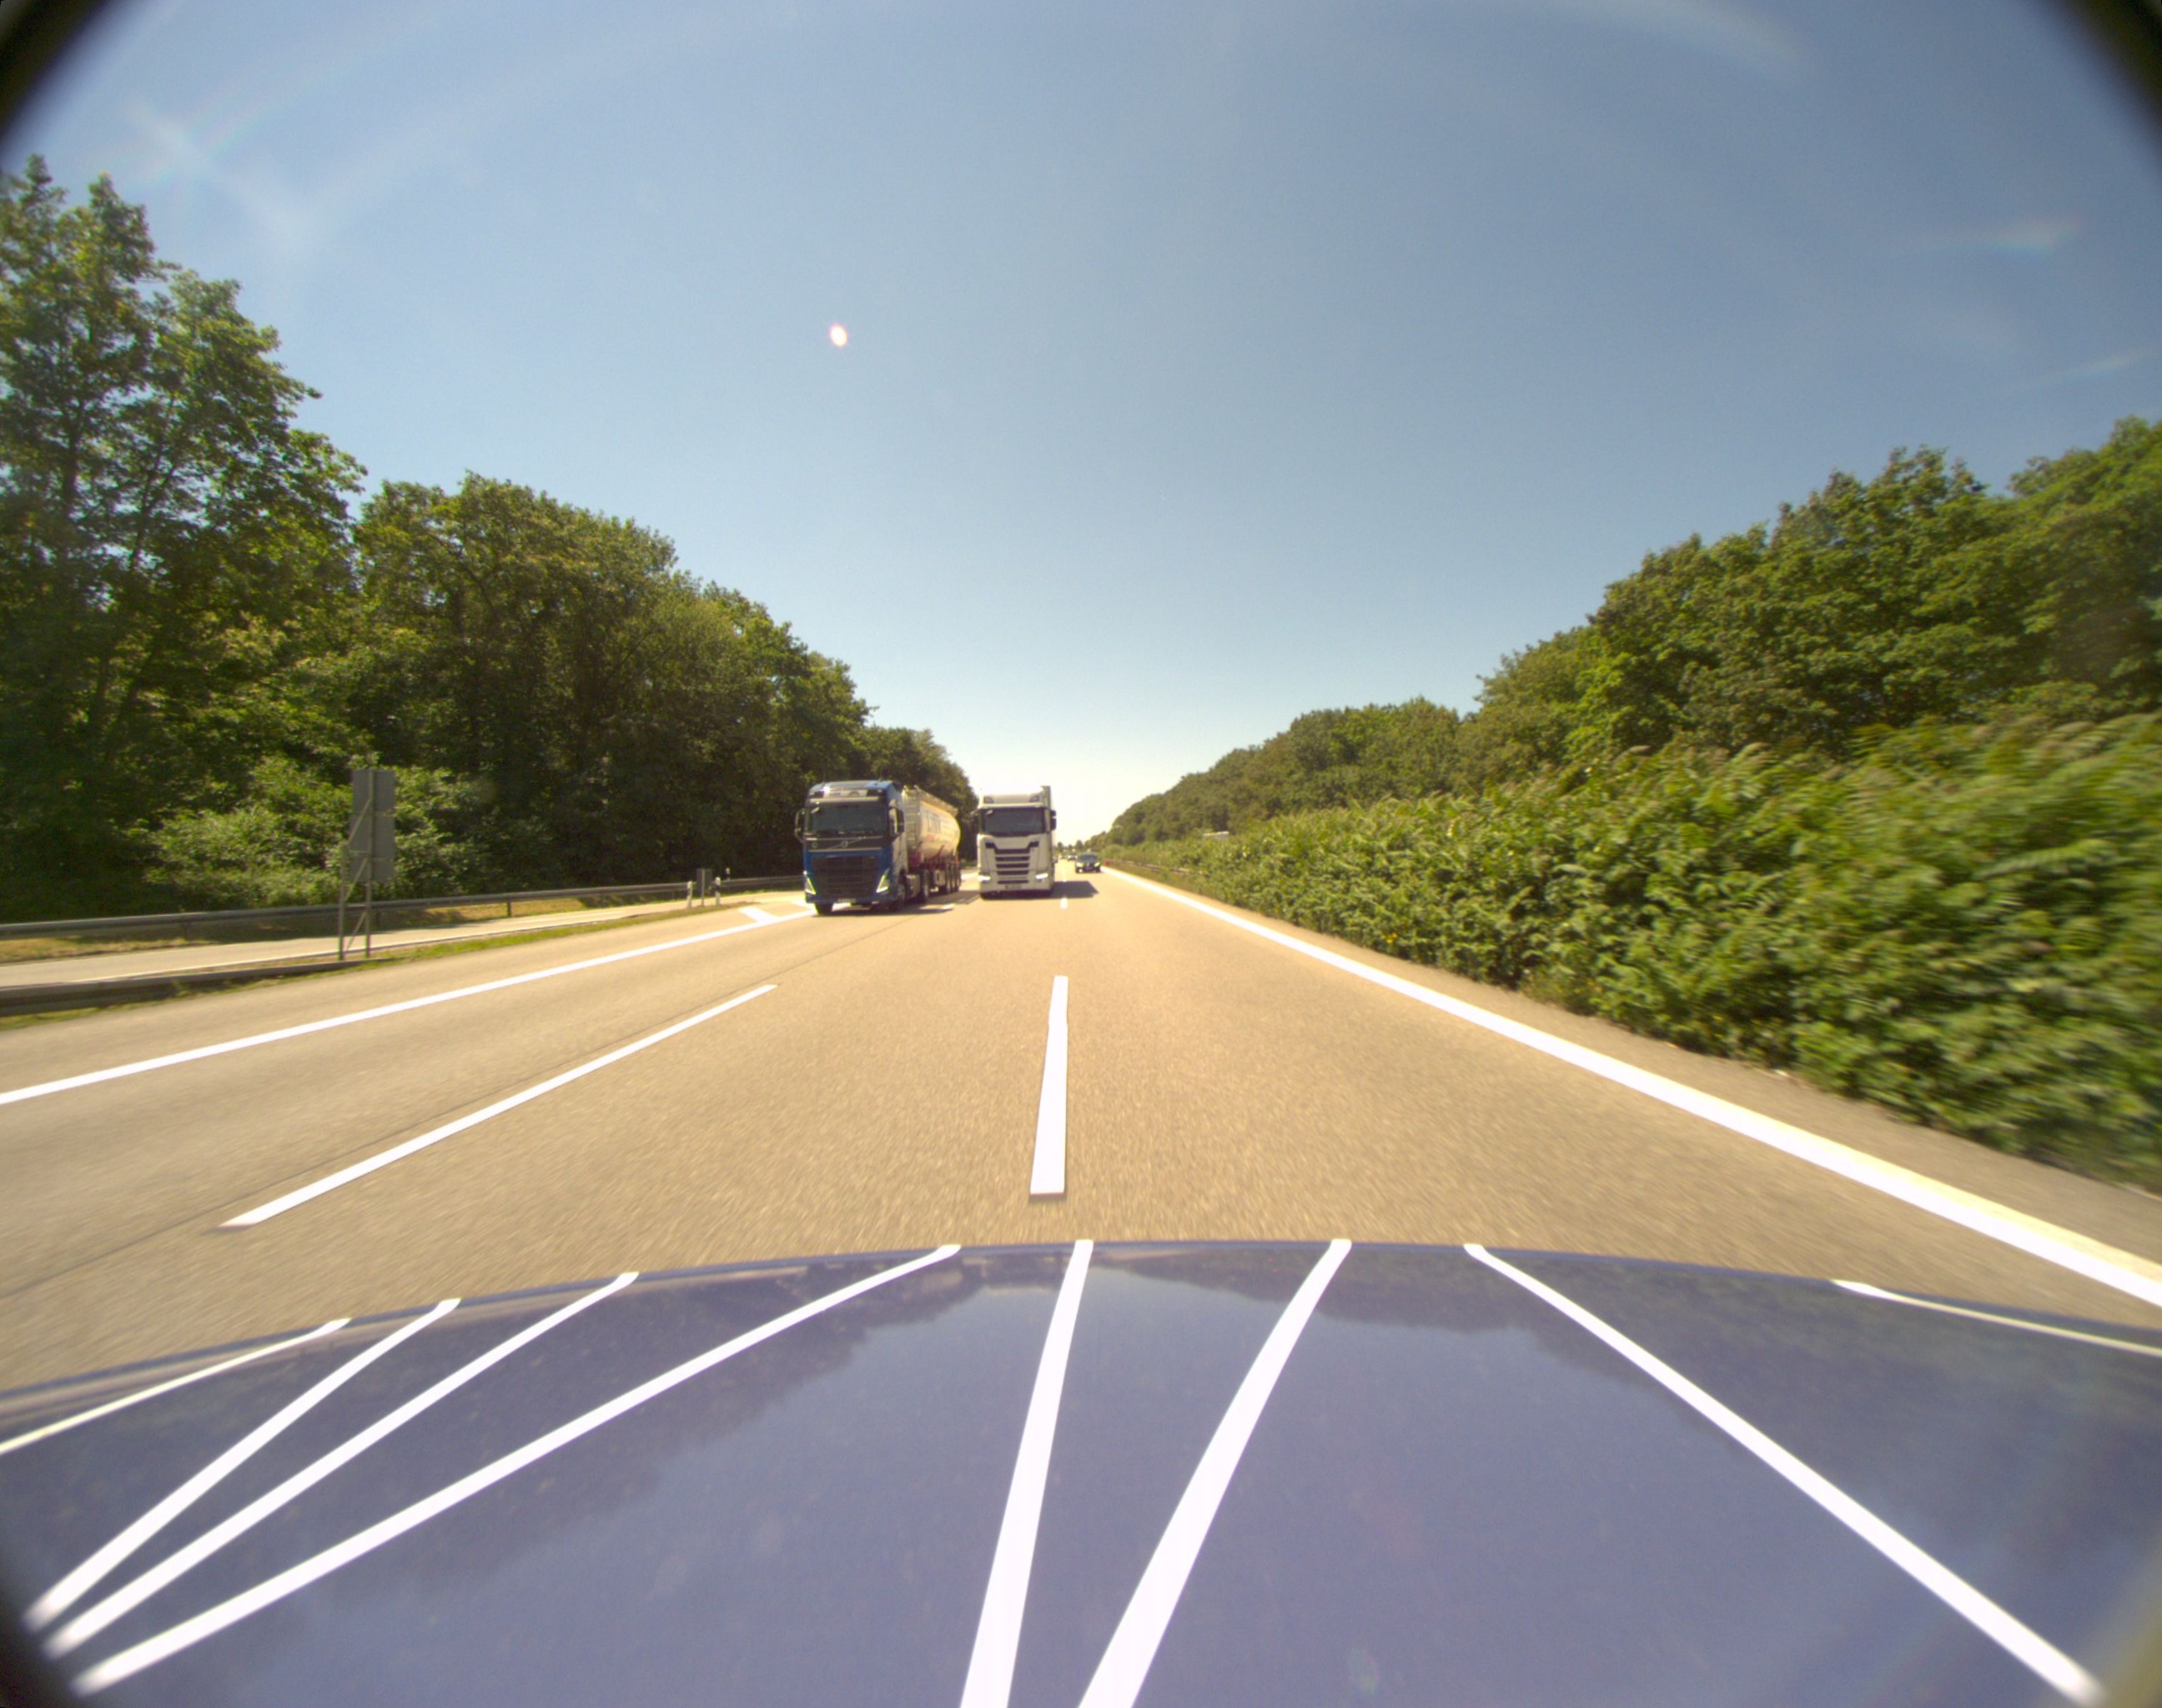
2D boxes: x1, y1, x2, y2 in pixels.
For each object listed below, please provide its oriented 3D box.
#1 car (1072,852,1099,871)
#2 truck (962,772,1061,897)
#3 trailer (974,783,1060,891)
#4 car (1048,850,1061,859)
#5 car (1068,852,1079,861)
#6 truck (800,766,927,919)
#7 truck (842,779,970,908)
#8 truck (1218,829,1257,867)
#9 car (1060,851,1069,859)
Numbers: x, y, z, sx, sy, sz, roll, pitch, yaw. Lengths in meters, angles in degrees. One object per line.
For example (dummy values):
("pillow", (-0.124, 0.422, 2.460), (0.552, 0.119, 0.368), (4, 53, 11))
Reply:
("car", (0.291, 0.568, 57.969), (1.887, 1.341, 4.466), (-1, 0, -2))
("truck", (-2.412, -0.662, 27.714), (3.238, 4.133, 4.558), (-1, 0, -2))
("trailer", (-2.709, -0.663, 35.623), (3.232, 4.119, 12.348), (-1, 0, -2))
("car", (-4.269, 0.116, 123.109), (1.842, 1.409, 4.495), (-1, 0, -6))
("car", (-1.437, 0.493, 136.666), (1.887, 1.634, 3.999), (-1, 0, -1))
("truck", (-6.201, -0.317, 22.257), (2.455, 4.014, 4.070), (-2, 1, -1))
("truck", (-6.281, -0.369, 29.192), (2.449, 4.020, 10.539), (-2, 1, -1))
("truck", (16.975, -0.691, 82.608), (2.824, 3.948, 5.871), (-1, 1, -2))
("car", (-4.181, 0.215, 187.766), (1.999, 2.002, 3.998), (-1, 0, -5))
